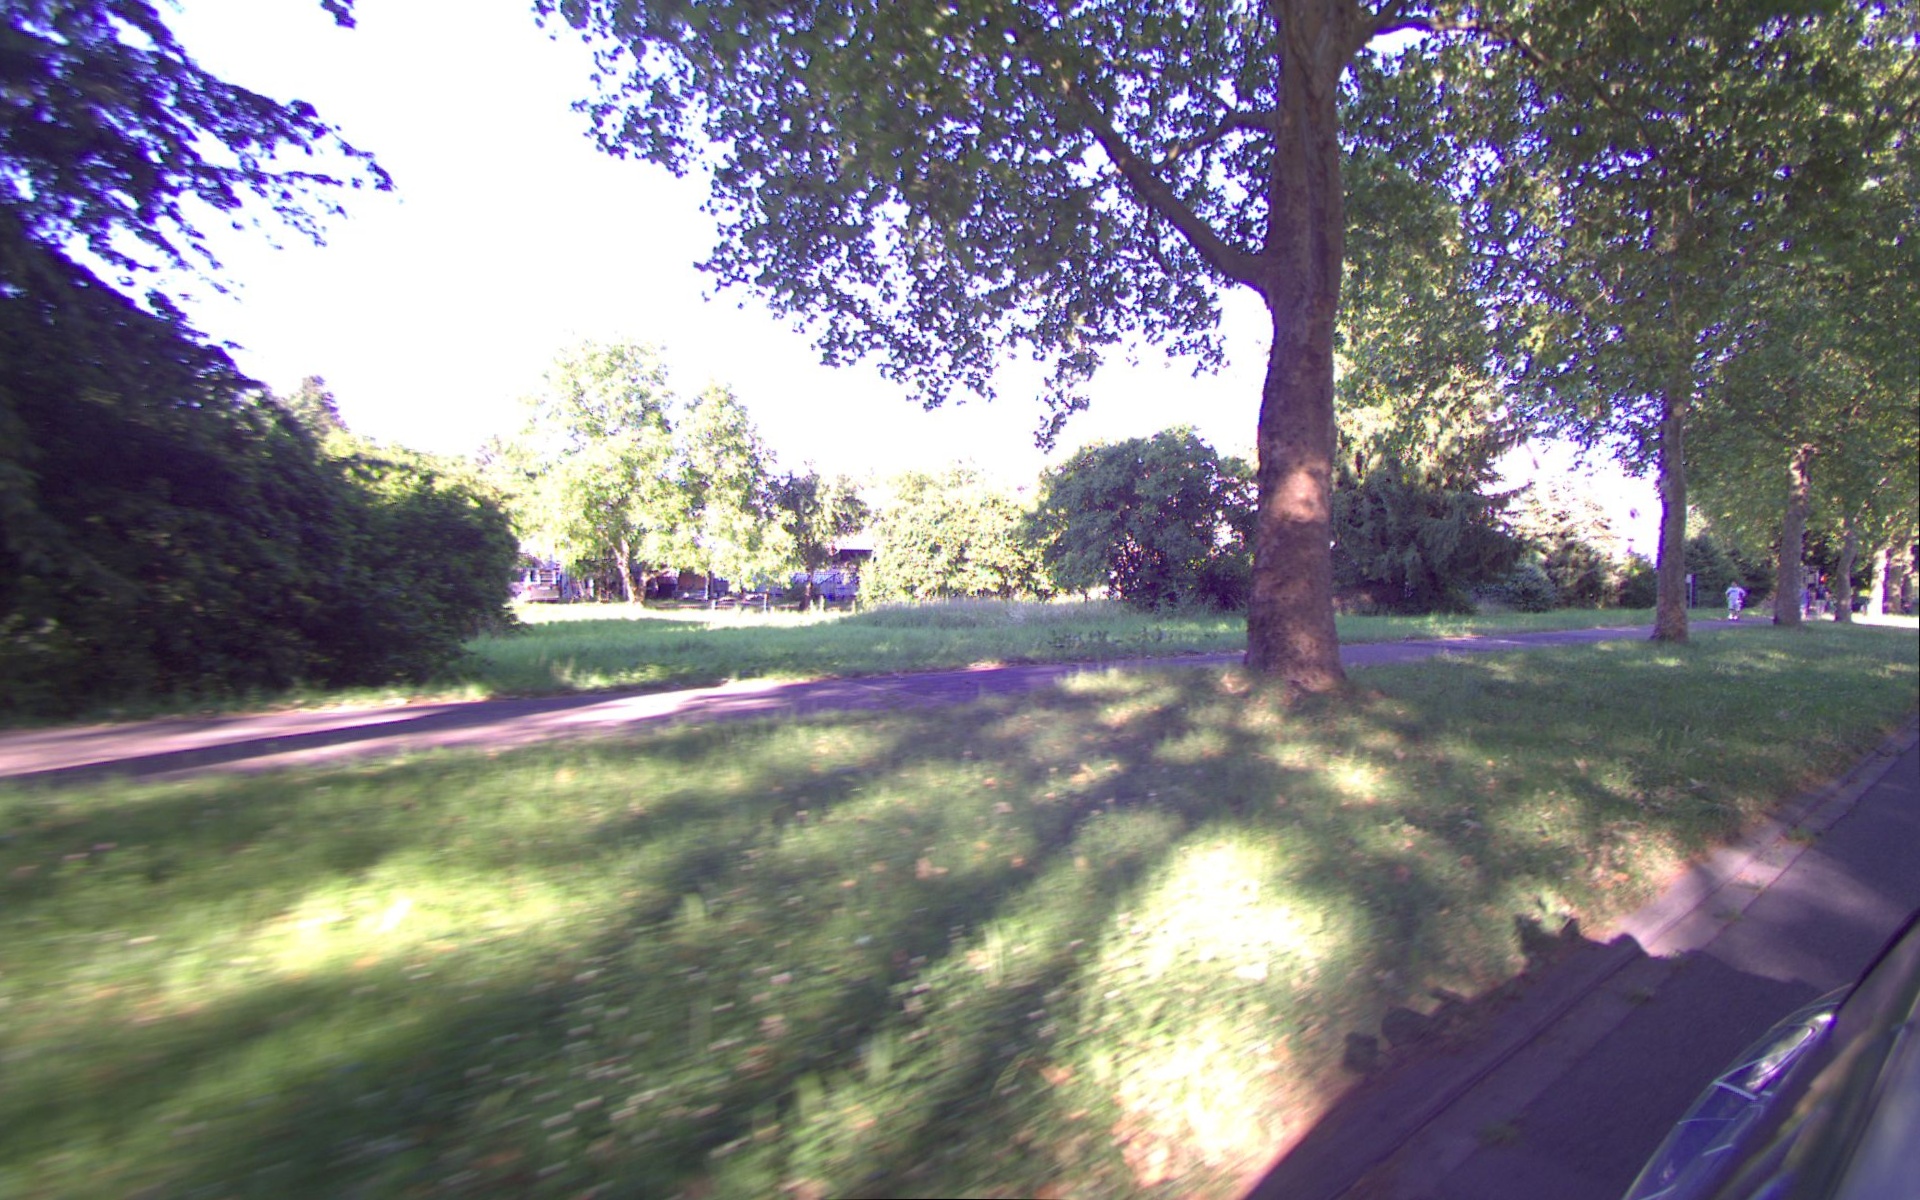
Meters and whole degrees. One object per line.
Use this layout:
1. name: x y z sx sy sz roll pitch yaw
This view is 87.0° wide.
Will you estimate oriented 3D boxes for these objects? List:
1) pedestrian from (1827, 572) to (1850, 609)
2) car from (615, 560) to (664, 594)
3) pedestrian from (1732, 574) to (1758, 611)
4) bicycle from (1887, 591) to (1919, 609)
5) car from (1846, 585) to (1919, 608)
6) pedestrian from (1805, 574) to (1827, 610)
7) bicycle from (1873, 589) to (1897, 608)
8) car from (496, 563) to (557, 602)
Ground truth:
1. pedestrian: 45.410 -0.487 52.293 0.773 1.869 0.763 0 1 -41
2. car: -19.753 -1.413 62.314 1.961 2.038 4.004 -2 2 -31
3. pedestrian: 35.755 -0.351 46.088 0.923 1.670 0.780 0 2 -44
4. bicycle: 57.663 0.000 61.731 0.437 1.048 1.723 3 1 -10
5. car: 64.338 -0.258 70.260 1.701 1.482 4.063 0 2 -40
6. pedestrian: 44.832 -0.439 53.010 0.788 1.870 0.756 0 1 -41
7. bicycle: 56.295 -0.104 61.577 0.442 1.096 1.990 3 1 25
8. car: -23.037 -0.915 53.721 1.901 1.972 3.995 -2 2 -40
